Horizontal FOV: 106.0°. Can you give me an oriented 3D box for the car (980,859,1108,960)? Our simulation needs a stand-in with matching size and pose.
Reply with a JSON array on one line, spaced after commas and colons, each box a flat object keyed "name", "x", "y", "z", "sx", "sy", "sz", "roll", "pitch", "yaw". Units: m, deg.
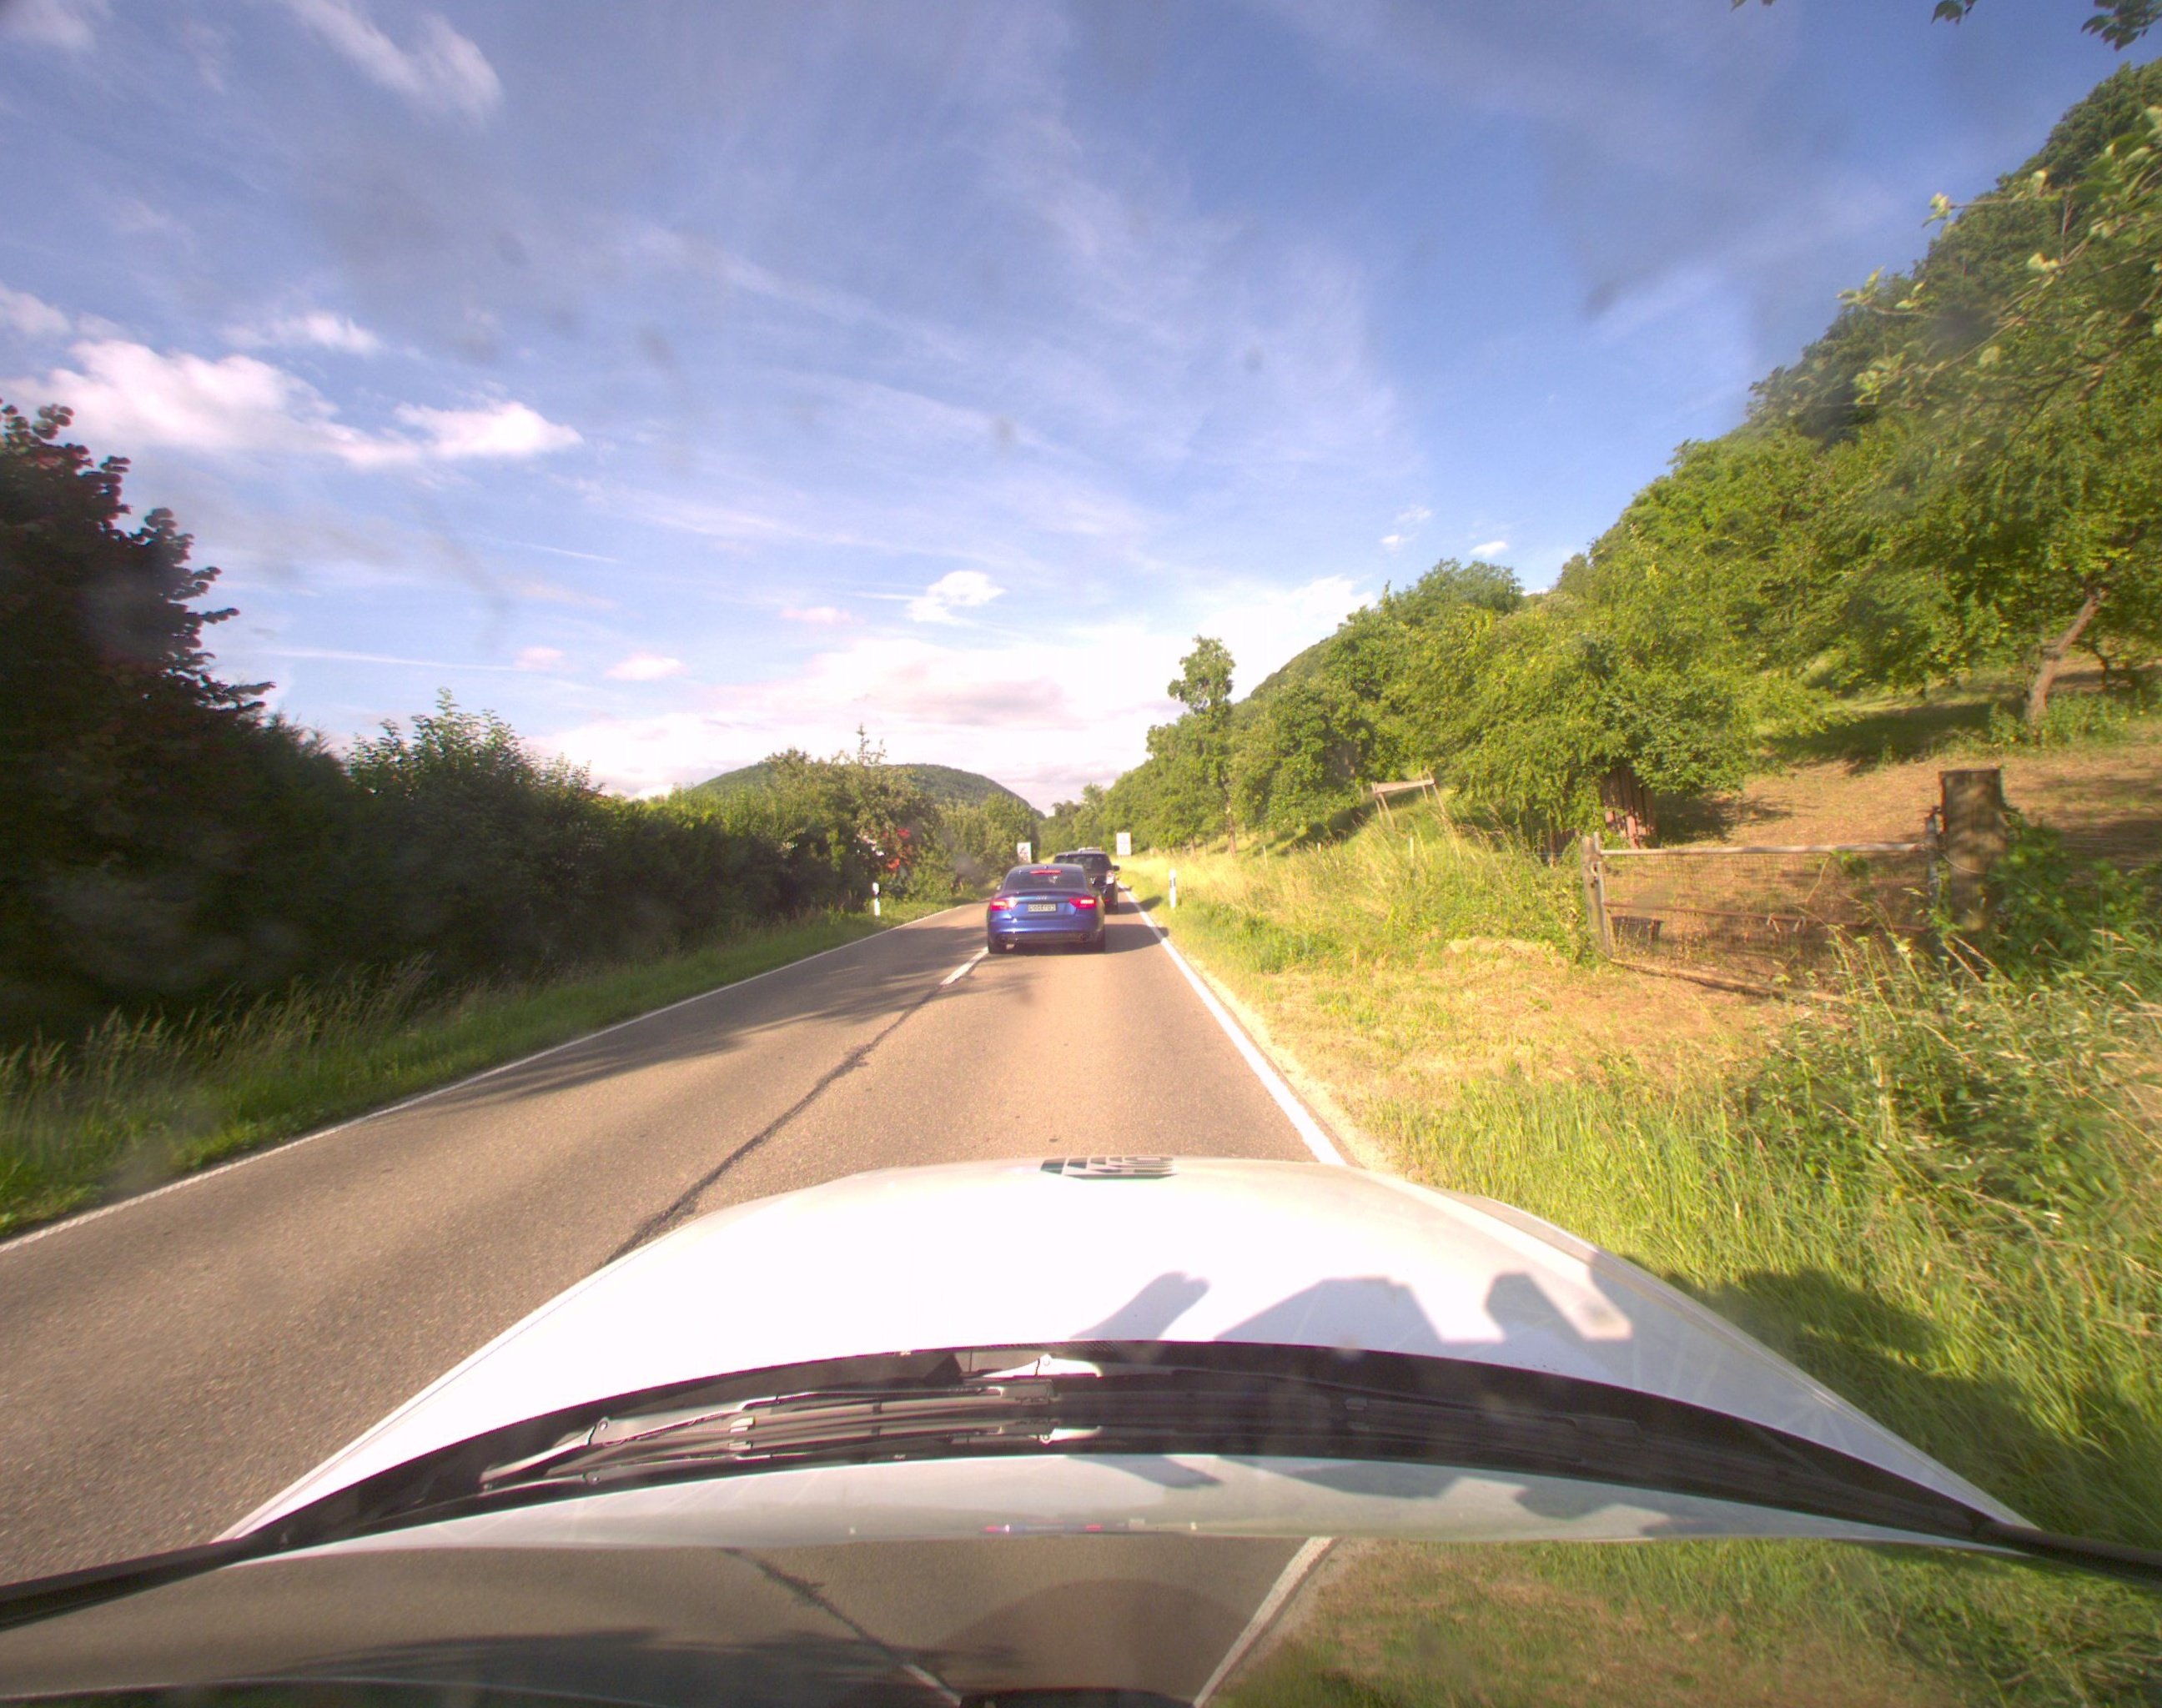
[{"name": "car", "x": -0.490, "y": 0.811, "z": 13.816, "sx": 1.799, "sy": 1.382, "sz": 4.215, "roll": -2, "pitch": 0, "yaw": 1}]

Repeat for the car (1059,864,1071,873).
[{"name": "car", "x": -2.671, "y": 2.417, "z": 136.770, "sx": 1.557, "sy": 1.496, "sz": 3.768, "roll": 0, "pitch": 0, "yaw": -8}]

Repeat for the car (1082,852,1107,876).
[{"name": "car", "x": 0.992, "y": 0.683, "z": 58.592, "sx": 1.687, "sy": 1.624, "sz": 3.789, "roll": -2, "pitch": 0, "yaw": 1}]

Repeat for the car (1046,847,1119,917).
[{"name": "car", "x": 0.064, "y": 0.660, "z": 21.284, "sx": 1.687, "sy": 1.624, "sz": 3.789, "roll": -2, "pitch": 0, "yaw": 1}]

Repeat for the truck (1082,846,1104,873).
[{"name": "truck", "x": 1.062, "y": 0.521, "z": 74.810, "sx": 1.943, "sy": 2.345, "sz": 5.093, "roll": 0, "pitch": 0, "yaw": 0}]

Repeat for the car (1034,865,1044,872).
[{"name": "car", "x": -8.952, "y": 3.141, "z": 174.115, "sx": 1.560, "sy": 1.496, "sz": 3.763, "roll": 0, "pitch": 0, "yaw": -11}]

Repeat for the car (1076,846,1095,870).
[{"name": "car", "x": 0.437, "y": 0.453, "z": 85.036, "sx": 1.787, "sy": 2.453, "sz": 3.916, "roll": 0, "pitch": 0, "yaw": -2}]
